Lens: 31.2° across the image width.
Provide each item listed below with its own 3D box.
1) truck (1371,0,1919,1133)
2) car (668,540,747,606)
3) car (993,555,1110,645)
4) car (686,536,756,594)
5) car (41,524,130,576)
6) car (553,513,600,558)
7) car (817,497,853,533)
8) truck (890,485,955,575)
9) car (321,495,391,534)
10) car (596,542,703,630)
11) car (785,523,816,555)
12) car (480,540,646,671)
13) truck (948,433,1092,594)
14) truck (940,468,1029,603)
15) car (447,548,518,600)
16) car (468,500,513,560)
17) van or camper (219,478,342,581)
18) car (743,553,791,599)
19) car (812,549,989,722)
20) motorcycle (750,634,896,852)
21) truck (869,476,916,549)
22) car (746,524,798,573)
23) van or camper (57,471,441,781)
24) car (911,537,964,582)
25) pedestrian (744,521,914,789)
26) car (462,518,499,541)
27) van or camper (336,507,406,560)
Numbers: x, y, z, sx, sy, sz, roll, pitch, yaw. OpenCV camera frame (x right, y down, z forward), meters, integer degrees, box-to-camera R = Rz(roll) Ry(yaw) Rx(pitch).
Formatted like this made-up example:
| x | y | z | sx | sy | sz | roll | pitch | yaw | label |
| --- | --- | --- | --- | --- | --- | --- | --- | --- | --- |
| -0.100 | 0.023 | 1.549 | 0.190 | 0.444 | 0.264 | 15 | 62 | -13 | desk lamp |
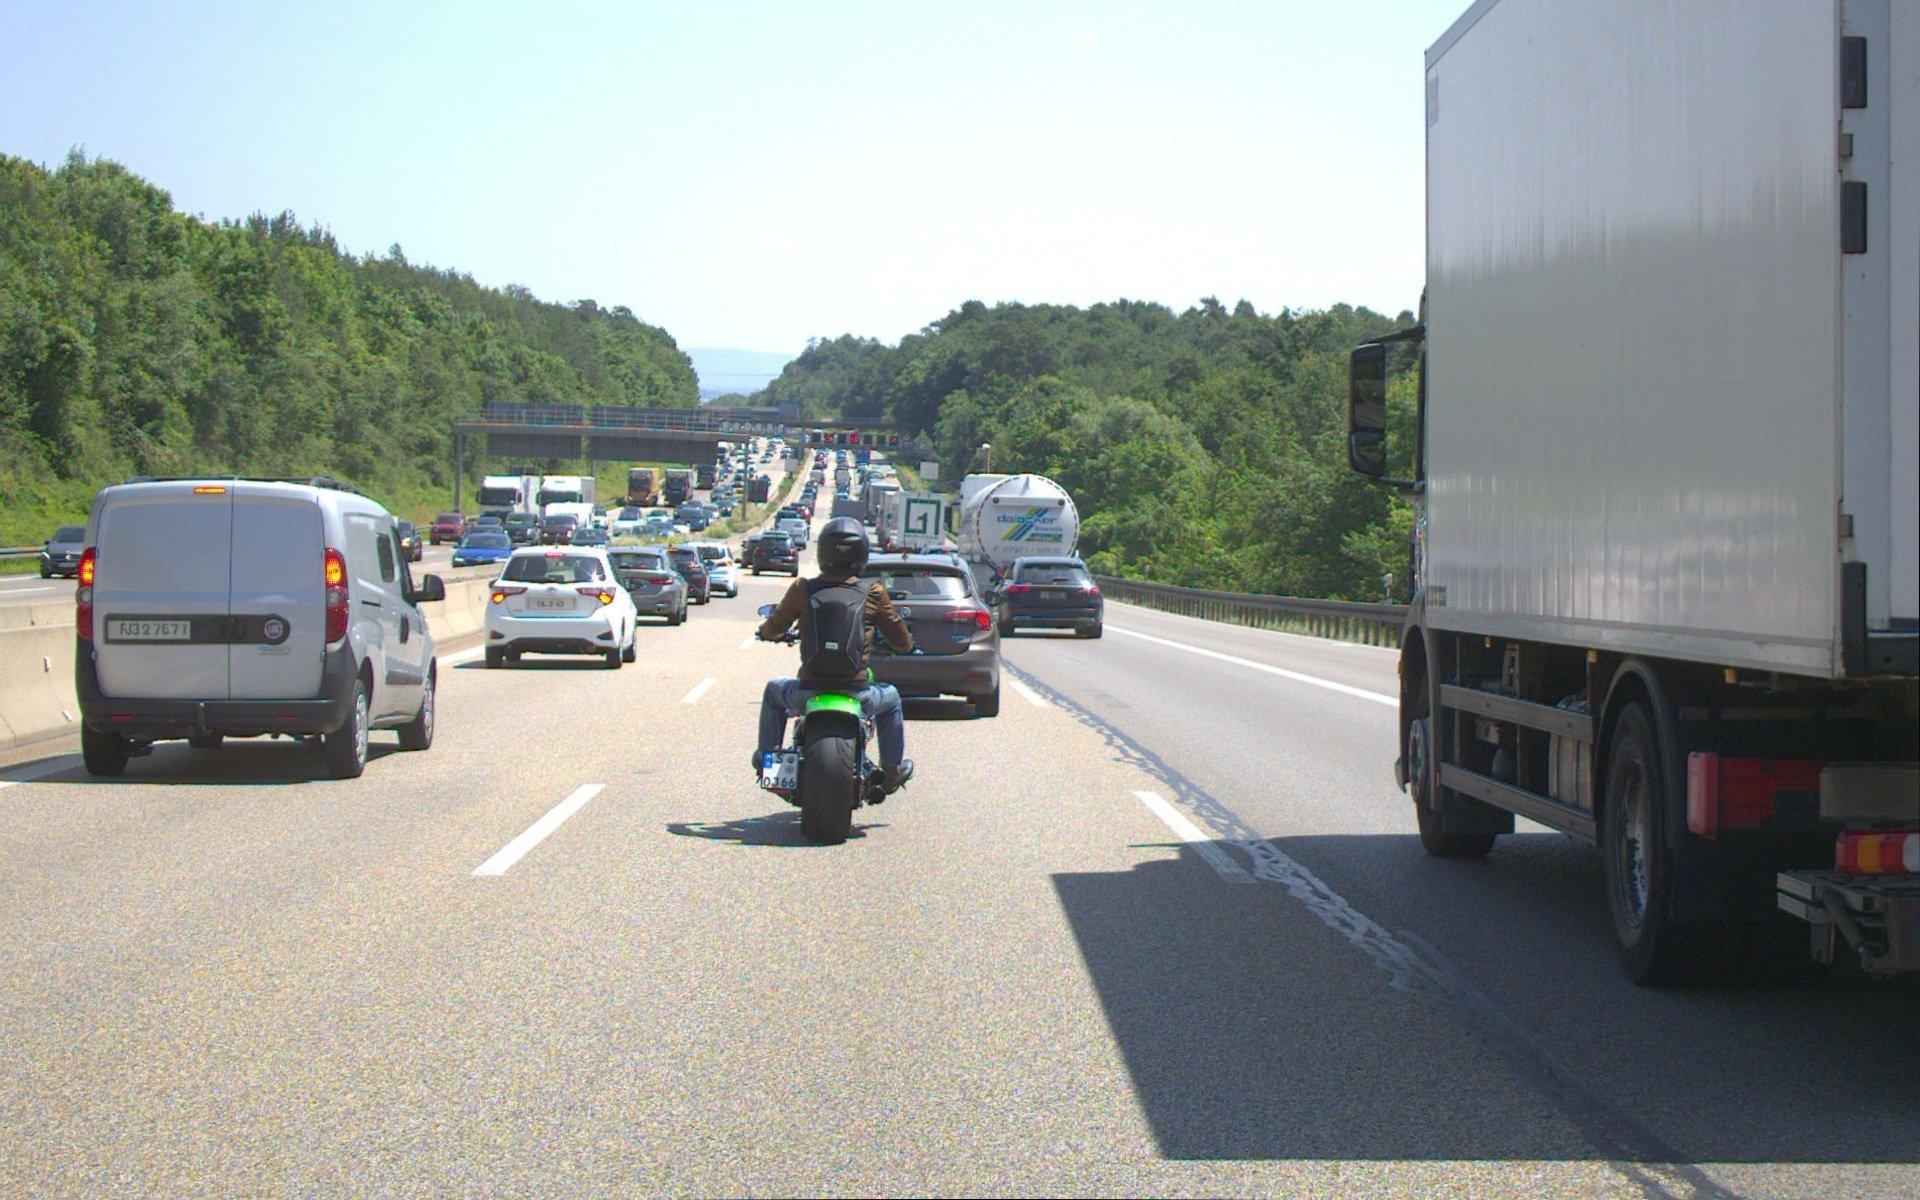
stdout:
| x | y | z | sx | sy | sz | roll | pitch | yaw | label |
| --- | --- | --- | --- | --- | --- | --- | --- | --- | --- |
| 3.551 | -0.625 | 13.766 | 2.688 | 3.863 | 9.780 | 0 | 1 | 0 | truck |
| -6.140 | -0.682 | 83.846 | 1.699 | 1.473 | 4.001 | 3 | 1 | -2 | car |
| 1.648 | -0.030 | 63.233 | 1.828 | 1.465 | 4.001 | 3 | 1 | -2 | car |
| -6.568 | -0.989 | 94.742 | 1.699 | 1.473 | 4.001 | 3 | 1 | -2 | car |
| -25.589 | -1.475 | 100.699 | 1.577 | 1.457 | 4.389 | 1 | 1 | -1 | car |
| -17.072 | -2.880 | 153.182 | 1.891 | 1.941 | 4.001 | 1 | 0 | -3 | car |
| -9.304 | -6.330 | 256.526 | 2.504 | 2.578 | 5.017 | 3 | 1 | -2 | car |
| -2.067 | -3.791 | 184.908 | 3.033 | 4.526 | 9.984 | 4 | 1 | -2 | truck |
| -21.971 | -3.112 | 125.146 | 1.801 | 1.342 | 4.724 | 1 | 1 | -2 | car |
| -5.762 | -0.284 | 64.089 | 1.699 | 1.473 | 4.001 | 3 | 1 | -2 | car |
| -10.274 | -3.938 | 221.632 | 1.929 | 2.007 | 4.000 | 1 | 0 | -1 | car |
| -4.950 | 0.030 | 43.294 | 1.699 | 1.473 | 4.001 | 3 | 1 | -2 | car |
| 1.368 | -2.013 | 83.349 | 2.987 | 3.659 | 9.288 | 1 | 0 | -2 | truck |
| 0.622 | -1.698 | 92.502 | 1.993 | 3.510 | 4.752 | 1 | 0 | -4 | truck |
| -14.596 | -0.813 | 105.195 | 1.710 | 1.532 | 4.129 | 1 | 1 | -2 | car |
| -30.877 | -4.579 | 226.251 | 2.449 | 3.860 | 4.566 | 1 | 1 | -2 | car |
| -18.797 | -1.902 | 95.419 | 2.269 | 2.726 | 6.806 | 1 | 0 | -2 | van or camper |
| -8.624 | -1.076 | 153.862 | 1.993 | 2.007 | 4.000 | 1 | 0 | -1 | car |
| -0.510 | 0.284 | 32.369 | 1.533 | 1.504 | 4.000 | 1 | 1 | 1 | car |
| -0.702 | 0.723 | 18.140 | 0.691 | 1.012 | 2.121 | 1 | 1 | -1 | motorcycle |
| -5.041 | -6.499 | 254.648 | 3.033 | 5.121 | 9.984 | 4 | 1 | -2 | truck |
| -7.531 | -2.074 | 138.156 | 1.880 | 1.853 | 4.000 | 3 | 1 | -2 | car |
| -4.675 | 0.145 | 23.180 | 1.796 | 1.886 | 4.160 | 1 | 0 | -1 | van or camper |
| -0.826 | -1.495 | 126.649 | 1.787 | 1.550 | 3.804 | 3 | 1 | -2 | car |
| -0.677 | 0.274 | 18.027 | 0.849 | 1.357 | 0.961 | 1 | 1 | -1 | pedestrian |
| -29.678 | -4.348 | 212.961 | 1.762 | 1.365 | 4.502 | 1 | 1 | -2 | car |
| -22.357 | -2.519 | 130.627 | 2.076 | 1.970 | 3.705 | 1 | 1 | -1 | van or camper |
